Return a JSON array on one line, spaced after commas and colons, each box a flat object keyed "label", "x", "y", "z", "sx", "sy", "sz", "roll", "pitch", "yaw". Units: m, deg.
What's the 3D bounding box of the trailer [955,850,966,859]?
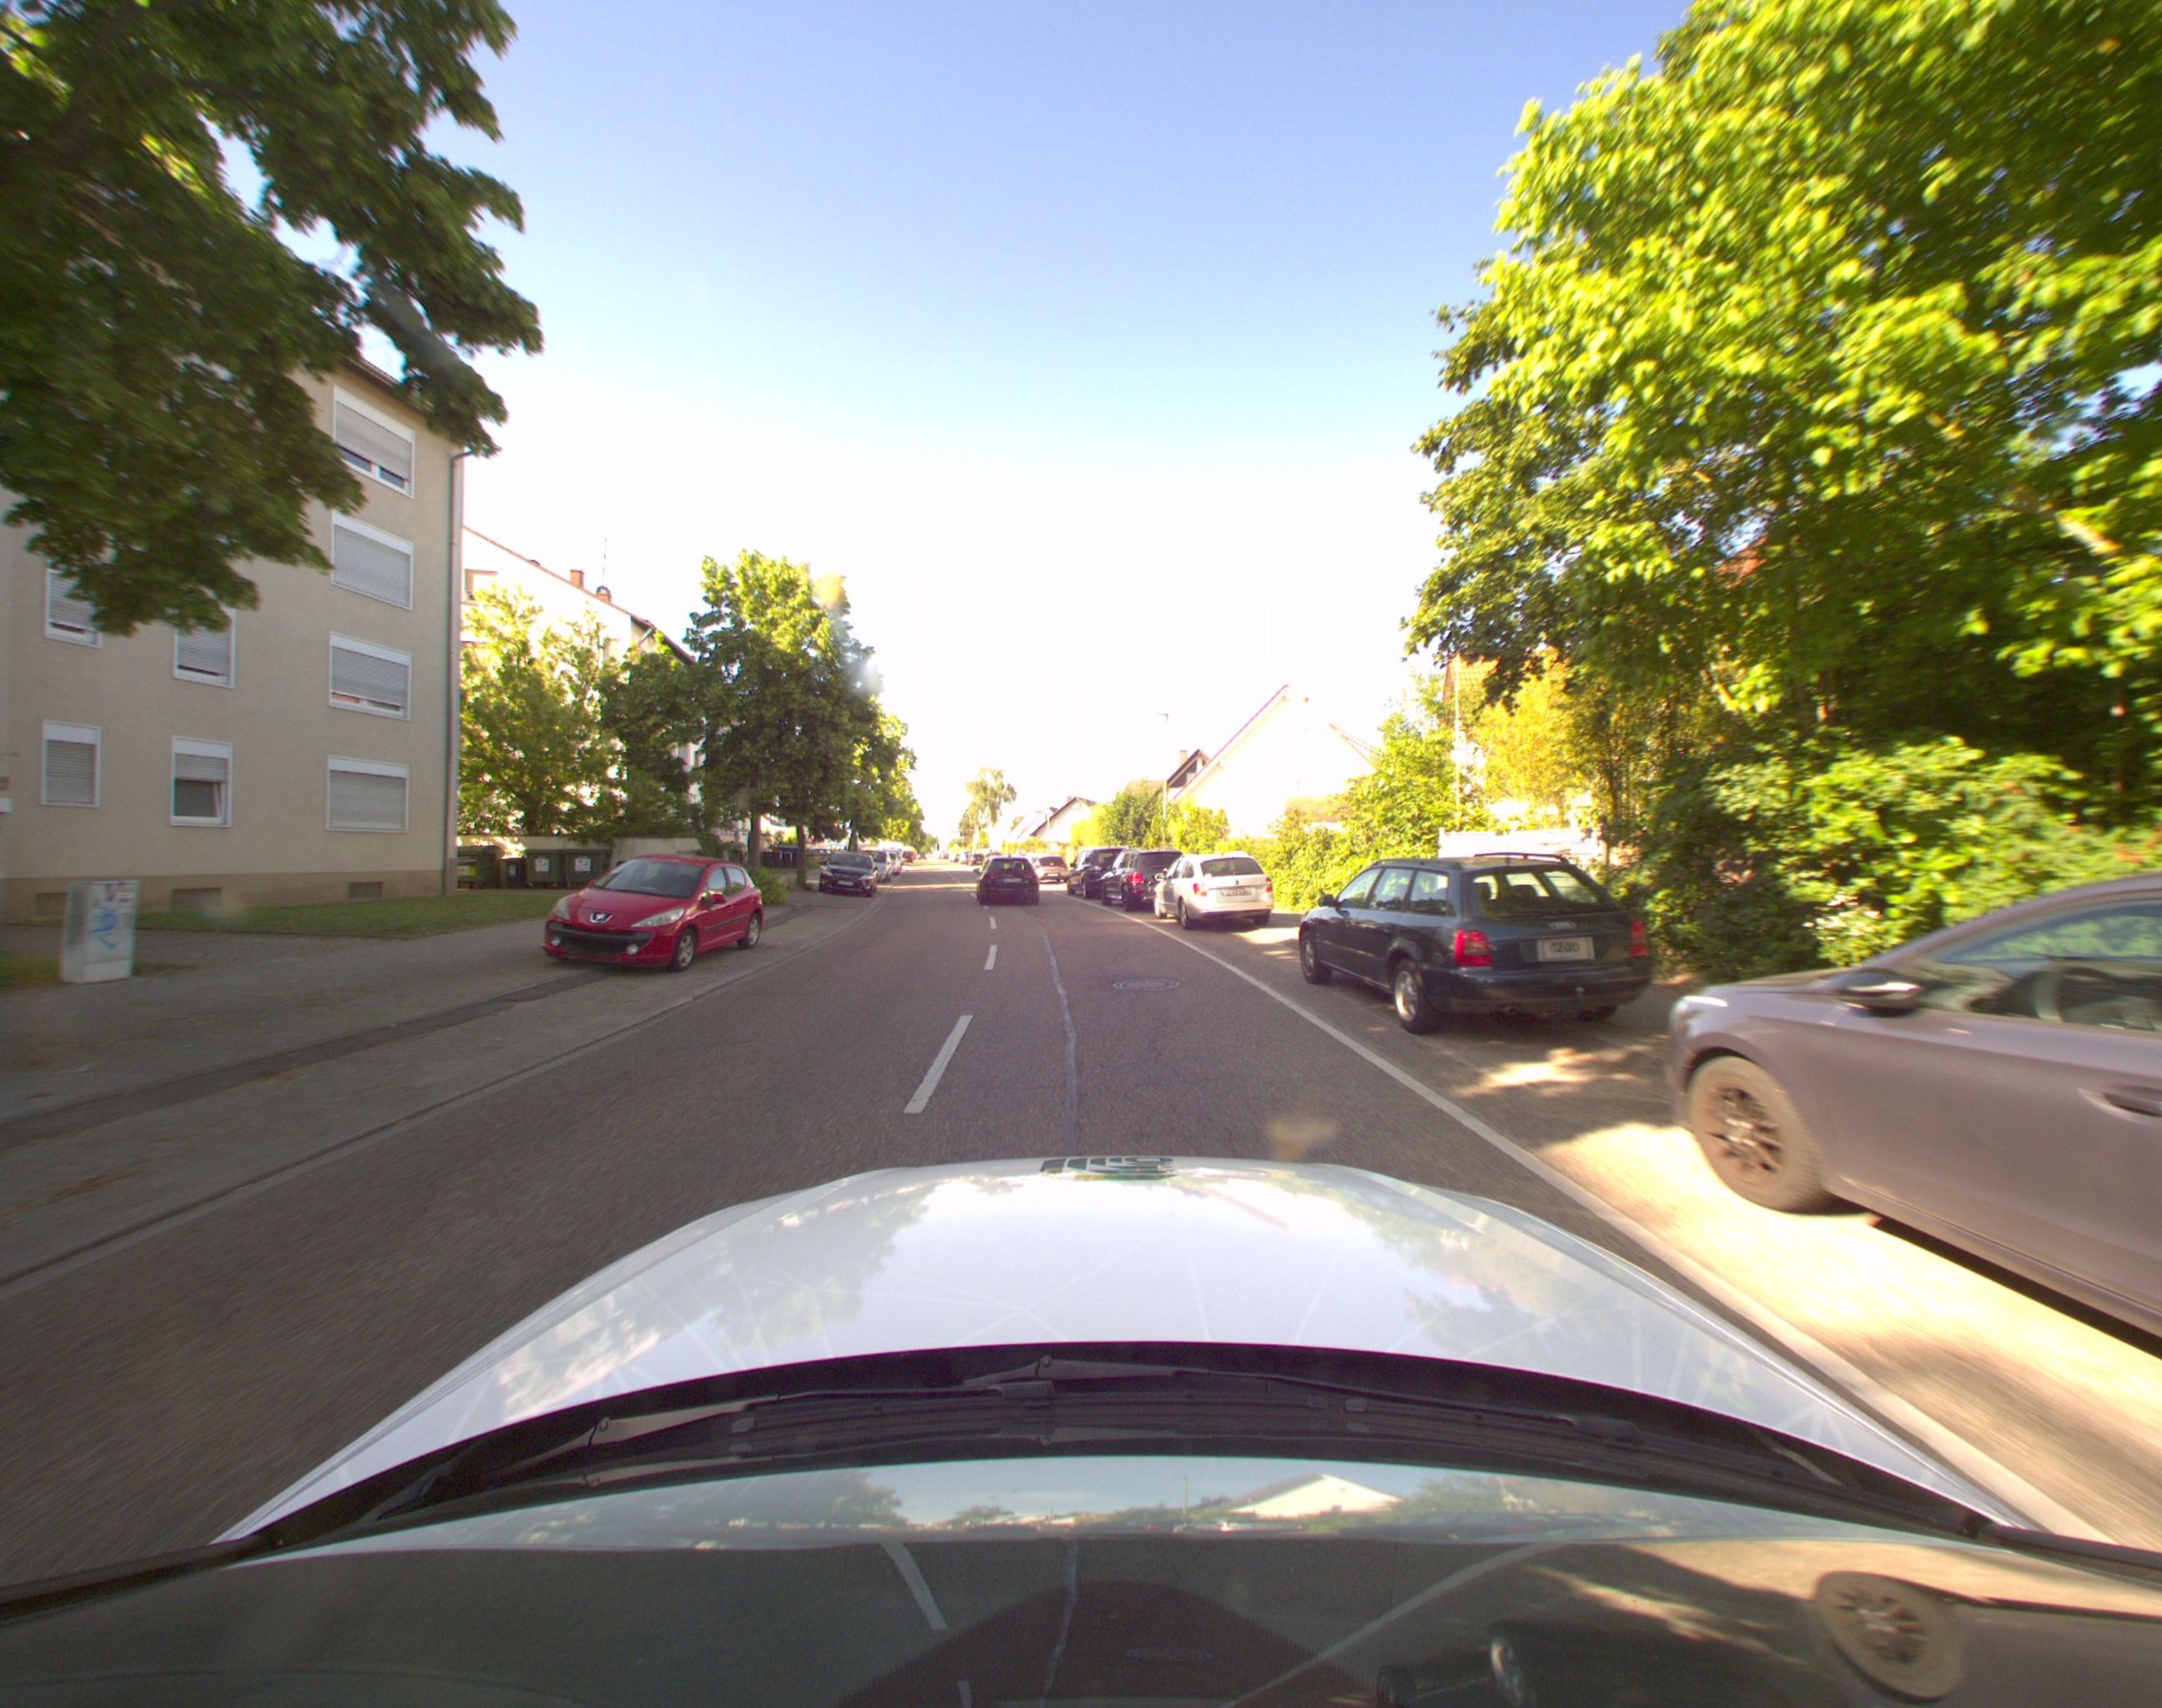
[{"label": "trailer", "x": -19.862, "y": 0.103, "z": 134.126, "sx": 1.627, "sy": 1.538, "sz": 3.187, "roll": 1, "pitch": 0, "yaw": -10}]

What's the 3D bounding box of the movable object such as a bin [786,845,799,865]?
[{"label": "movable object such as a bin", "x": -18.309, "y": 0.064, "z": 51.702, "sx": 0.687, "sy": 1.279, "sz": 0.669, "roll": 1, "pitch": 0, "yaw": -9}]

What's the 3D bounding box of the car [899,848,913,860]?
[{"label": "car", "x": -25.906, "y": 0.004, "z": 120.782, "sx": 1.804, "sy": 1.752, "sz": 4.325, "roll": 2, "pitch": 0, "yaw": -11}]

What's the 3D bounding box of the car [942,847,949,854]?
[{"label": "car", "x": -39.329, "y": -1.011, "z": 236.449, "sx": 1.920, "sy": 1.825, "sz": 4.064, "roll": 1, "pitch": 0, "yaw": -11}]

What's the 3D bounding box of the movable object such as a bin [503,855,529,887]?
[{"label": "movable object such as a bin", "x": -18.539, "y": 0.544, "z": 26.722, "sx": 0.506, "sy": 1.014, "sz": 0.484, "roll": 1, "pitch": 3, "yaw": -3}]

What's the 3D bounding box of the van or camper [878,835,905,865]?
[{"label": "van or camper", "x": -17.101, "y": -0.335, "z": 73.680, "sx": 2.124, "sy": 2.490, "sz": 5.533, "roll": 3, "pitch": 0, "yaw": -12}]

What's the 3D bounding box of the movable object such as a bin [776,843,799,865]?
[{"label": "movable object such as a bin", "x": -19.638, "y": -0.017, "z": 54.527, "sx": 1.231, "sy": 1.482, "sz": 1.112, "roll": 1, "pitch": 0, "yaw": -9}]

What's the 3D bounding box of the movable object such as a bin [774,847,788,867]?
[{"label": "movable object such as a bin", "x": -19.004, "y": 0.179, "z": 51.596, "sx": 0.638, "sy": 1.279, "sz": 0.669, "roll": 1, "pitch": 0, "yaw": -9}]

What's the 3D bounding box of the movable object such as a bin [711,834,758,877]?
[{"label": "movable object such as a bin", "x": -13.656, "y": 0.068, "z": 32.139, "sx": 1.413, "sy": 1.662, "sz": 1.263, "roll": 1, "pitch": 0, "yaw": -10}]

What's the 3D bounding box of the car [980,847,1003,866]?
[{"label": "car", "x": -8.138, "y": 0.210, "z": 73.969, "sx": 1.776, "sy": 1.659, "sz": 4.289, "roll": 1, "pitch": 0, "yaw": -10}]

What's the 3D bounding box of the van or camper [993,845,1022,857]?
[{"label": "van or camper", "x": -15.560, "y": -0.674, "z": 173.036, "sx": 5.861, "sy": 2.541, "sz": 2.264, "roll": 0, "pitch": 0, "yaw": -39}]

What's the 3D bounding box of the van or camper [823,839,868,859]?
[{"label": "van or camper", "x": -29.671, "y": -0.621, "z": 102.764, "sx": 4.874, "sy": 2.320, "sz": 2.244, "roll": 1, "pitch": -1, "yaw": 1}]

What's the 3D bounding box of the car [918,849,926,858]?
[{"label": "car", "x": -37.838, "y": -0.203, "z": 194.056, "sx": 1.895, "sy": 2.031, "sz": 4.800, "roll": -1, "pitch": 0, "yaw": -11}]

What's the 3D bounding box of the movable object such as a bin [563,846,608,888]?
[{"label": "movable object such as a bin", "x": -16.199, "y": 0.410, "z": 26.631, "sx": 1.087, "sy": 1.316, "sz": 0.567, "roll": 1, "pitch": 3, "yaw": -4}]

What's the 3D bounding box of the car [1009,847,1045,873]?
[{"label": "car", "x": -3.537, "y": 0.379, "z": 52.682, "sx": 1.659, "sy": 1.601, "sz": 3.797, "roll": 1, "pitch": 0, "yaw": -15}]

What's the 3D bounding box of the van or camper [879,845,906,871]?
[{"label": "van or camper", "x": -15.283, "y": 0.268, "z": 66.193, "sx": 1.878, "sy": 2.013, "sz": 4.264, "roll": 1, "pitch": 0, "yaw": -11}]

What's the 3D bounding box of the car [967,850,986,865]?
[{"label": "car", "x": -12.006, "y": 0.379, "z": 92.994, "sx": 1.778, "sy": 1.659, "sz": 3.799, "roll": 1, "pitch": 0, "yaw": -13}]

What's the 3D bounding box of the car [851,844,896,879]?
[{"label": "car", "x": -10.632, "y": 0.371, "z": 41.886, "sx": 1.721, "sy": 1.593, "sz": 3.896, "roll": 6, "pitch": -1, "yaw": -9}]

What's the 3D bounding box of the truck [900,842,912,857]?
[{"label": "truck", "x": -35.886, "y": -0.844, "z": 167.044, "sx": 2.405, "sy": 2.983, "sz": 7.215, "roll": 2, "pitch": -1, "yaw": -12}]

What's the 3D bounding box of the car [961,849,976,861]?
[{"label": "car", "x": -14.686, "y": 0.185, "z": 106.366, "sx": 1.719, "sy": 1.505, "sz": 3.550, "roll": 1, "pitch": 0, "yaw": -11}]

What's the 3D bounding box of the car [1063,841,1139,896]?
[{"label": "car", "x": 0.629, "y": 0.456, "z": 28.961, "sx": 1.744, "sy": 1.813, "sz": 4.411, "roll": 0, "pitch": 0, "yaw": -12}]

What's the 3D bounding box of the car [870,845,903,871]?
[{"label": "car", "x": -12.821, "y": 0.234, "z": 53.926, "sx": 1.692, "sy": 1.566, "sz": 3.895, "roll": 4, "pitch": 0, "yaw": -9}]

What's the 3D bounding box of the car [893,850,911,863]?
[{"label": "car", "x": -20.691, "y": 0.291, "z": 94.135, "sx": 1.686, "sy": 1.435, "sz": 4.195, "roll": 3, "pitch": 0, "yaw": -9}]

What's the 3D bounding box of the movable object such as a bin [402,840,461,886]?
[{"label": "movable object such as a bin", "x": -21.433, "y": 0.295, "z": 26.903, "sx": 1.118, "sy": 1.432, "sz": 0.938, "roll": 1, "pitch": 3, "yaw": -3}]

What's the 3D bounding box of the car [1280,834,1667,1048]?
[{"label": "car", "x": 3.441, "y": 0.621, "z": 8.218, "sx": 1.649, "sy": 1.563, "sz": 4.461, "roll": 0, "pitch": 0, "yaw": -2}]

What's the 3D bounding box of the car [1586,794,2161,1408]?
[{"label": "car", "x": 3.600, "y": 0.599, "z": 2.405, "sx": 1.713, "sy": 1.574, "sz": 4.000, "roll": -2, "pitch": 0, "yaw": 0}]

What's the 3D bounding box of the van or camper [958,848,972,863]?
[{"label": "van or camper", "x": -16.087, "y": 0.194, "z": 112.559, "sx": 1.719, "sy": 1.890, "sz": 4.164, "roll": 1, "pitch": 0, "yaw": -11}]

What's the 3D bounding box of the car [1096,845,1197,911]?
[{"label": "car", "x": 1.718, "y": 0.588, "z": 22.898, "sx": 1.763, "sy": 1.676, "sz": 4.379, "roll": 0, "pitch": 0, "yaw": -10}]

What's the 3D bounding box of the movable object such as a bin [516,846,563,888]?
[{"label": "movable object such as a bin", "x": -17.598, "y": 0.410, "z": 26.476, "sx": 1.118, "sy": 1.316, "sz": 0.567, "roll": 1, "pitch": 3, "yaw": -4}]

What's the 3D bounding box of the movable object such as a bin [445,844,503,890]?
[{"label": "movable object such as a bin", "x": -19.785, "y": 0.417, "z": 26.574, "sx": 1.118, "sy": 1.432, "sz": 0.954, "roll": 1, "pitch": 3, "yaw": -3}]

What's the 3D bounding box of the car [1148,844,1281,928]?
[{"label": "car", "x": 2.712, "y": 0.588, "z": 17.654, "sx": 1.760, "sy": 1.563, "sz": 4.654, "roll": 0, "pitch": 0, "yaw": -5}]

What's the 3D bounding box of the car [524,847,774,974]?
[{"label": "car", "x": -6.128, "y": 0.697, "z": 12.131, "sx": 1.653, "sy": 1.494, "sz": 3.905, "roll": 4, "pitch": 0, "yaw": -2}]

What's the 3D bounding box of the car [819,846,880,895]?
[{"label": "car", "x": -8.294, "y": 0.547, "z": 29.485, "sx": 1.723, "sy": 1.494, "sz": 4.524, "roll": 6, "pitch": -1, "yaw": -12}]

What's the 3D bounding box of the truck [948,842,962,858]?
[{"label": "truck", "x": -24.391, "y": -0.750, "z": 157.583, "sx": 2.404, "sy": 2.936, "sz": 6.989, "roll": -2, "pitch": 0, "yaw": -11}]

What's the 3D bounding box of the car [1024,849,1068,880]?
[{"label": "car", "x": -1.827, "y": 0.495, "z": 41.683, "sx": 1.643, "sy": 1.494, "sz": 3.873, "roll": 0, "pitch": 0, "yaw": -12}]

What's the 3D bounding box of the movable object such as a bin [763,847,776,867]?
[{"label": "movable object such as a bin", "x": -19.687, "y": 0.183, "z": 51.453, "sx": 0.638, "sy": 1.279, "sz": 0.669, "roll": 1, "pitch": 0, "yaw": -9}]

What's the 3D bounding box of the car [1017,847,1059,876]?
[{"label": "car", "x": -2.605, "y": 0.433, "z": 48.202, "sx": 1.727, "sy": 1.601, "sz": 3.797, "roll": 1, "pitch": 0, "yaw": -15}]

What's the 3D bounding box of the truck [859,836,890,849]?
[{"label": "truck", "x": -43.636, "y": -2.413, "z": 172.094, "sx": 5.902, "sy": 2.567, "sz": 2.223, "roll": 2, "pitch": 0, "yaw": 0}]

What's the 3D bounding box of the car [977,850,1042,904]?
[{"label": "car", "x": -2.289, "y": 0.643, "z": 25.209, "sx": 1.712, "sy": 1.532, "sz": 3.675, "roll": 0, "pitch": 0, "yaw": -10}]
